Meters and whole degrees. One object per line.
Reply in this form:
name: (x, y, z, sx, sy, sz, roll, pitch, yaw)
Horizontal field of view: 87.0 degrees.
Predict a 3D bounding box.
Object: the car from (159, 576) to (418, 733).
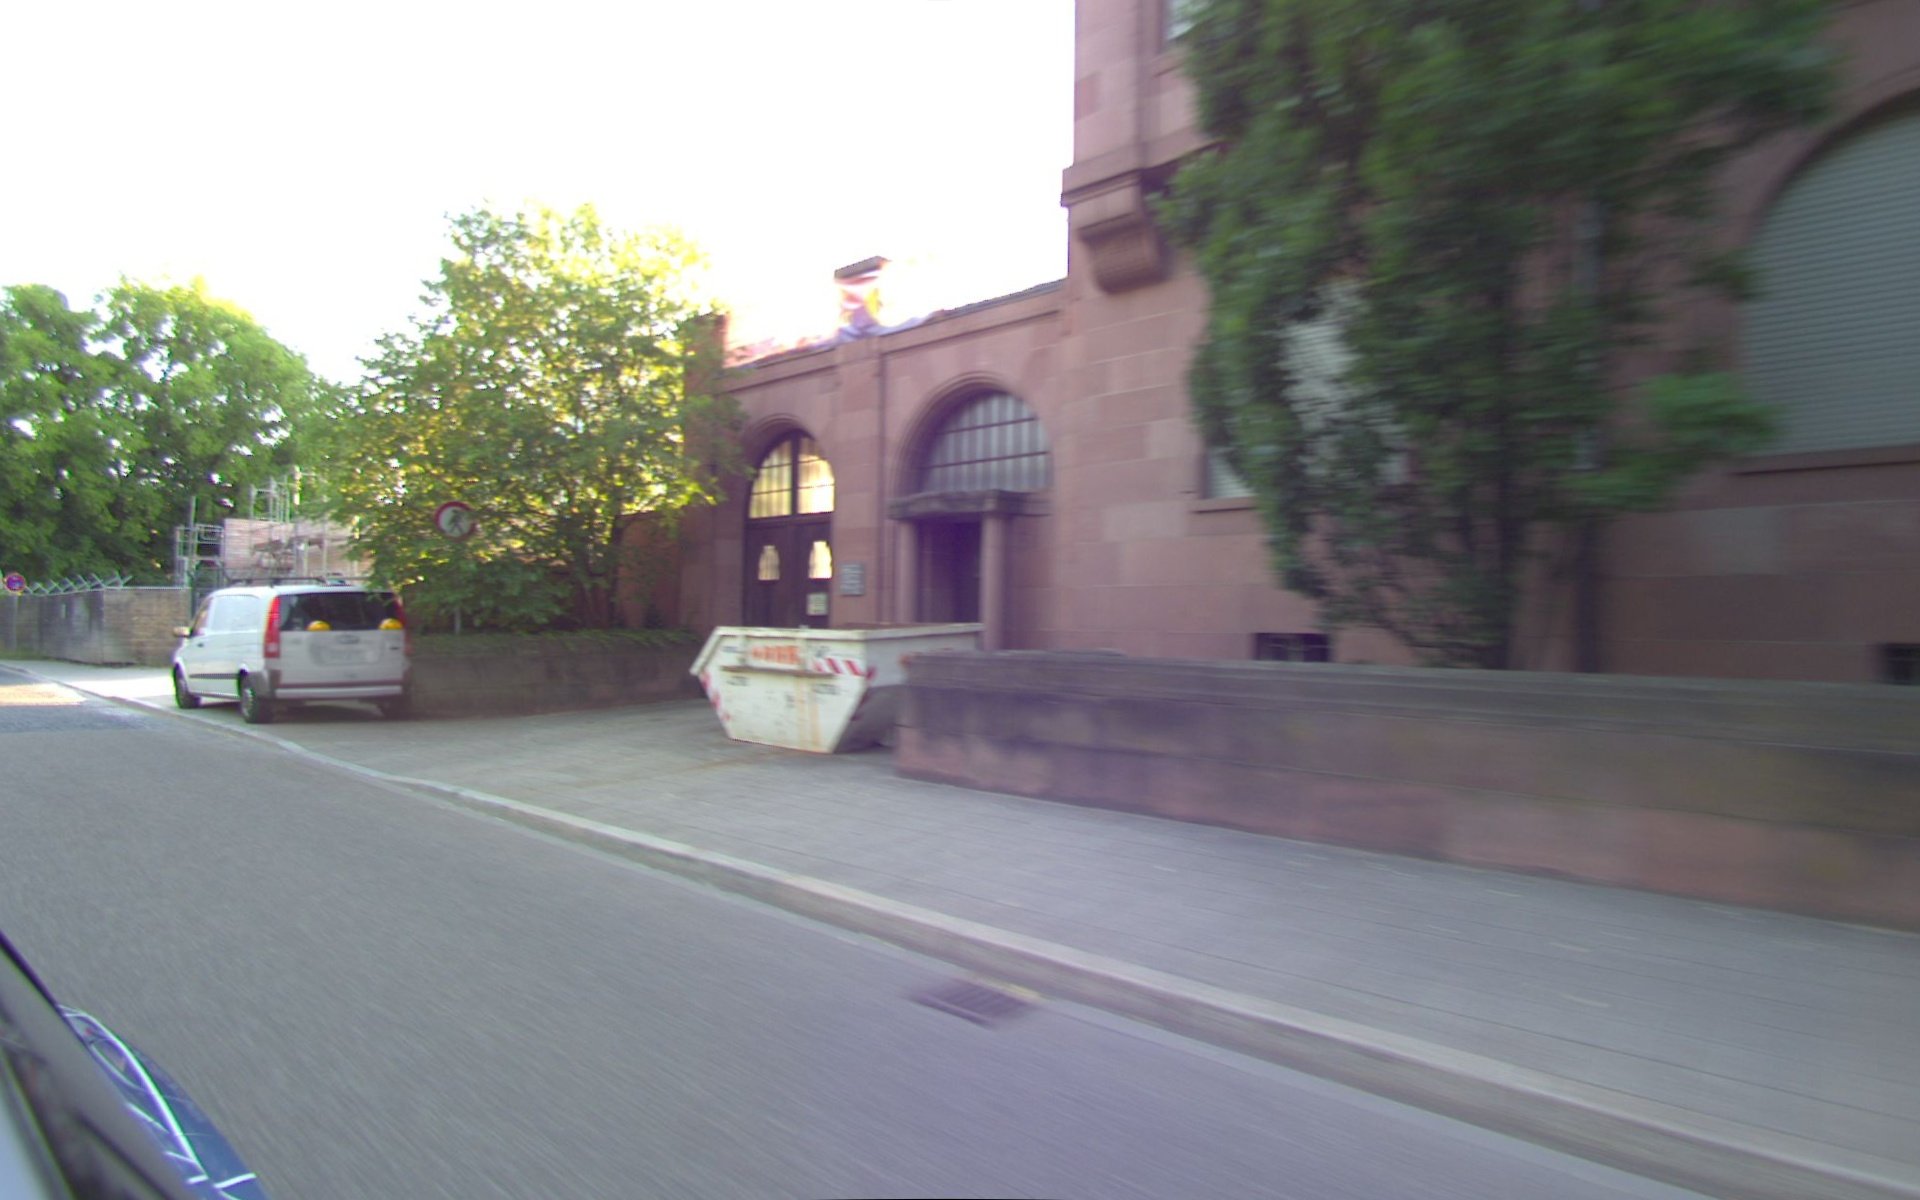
car: (-10.339, 0.704, 15.406, 5.221, 2.029, 1.864, -1, 0, 40)
